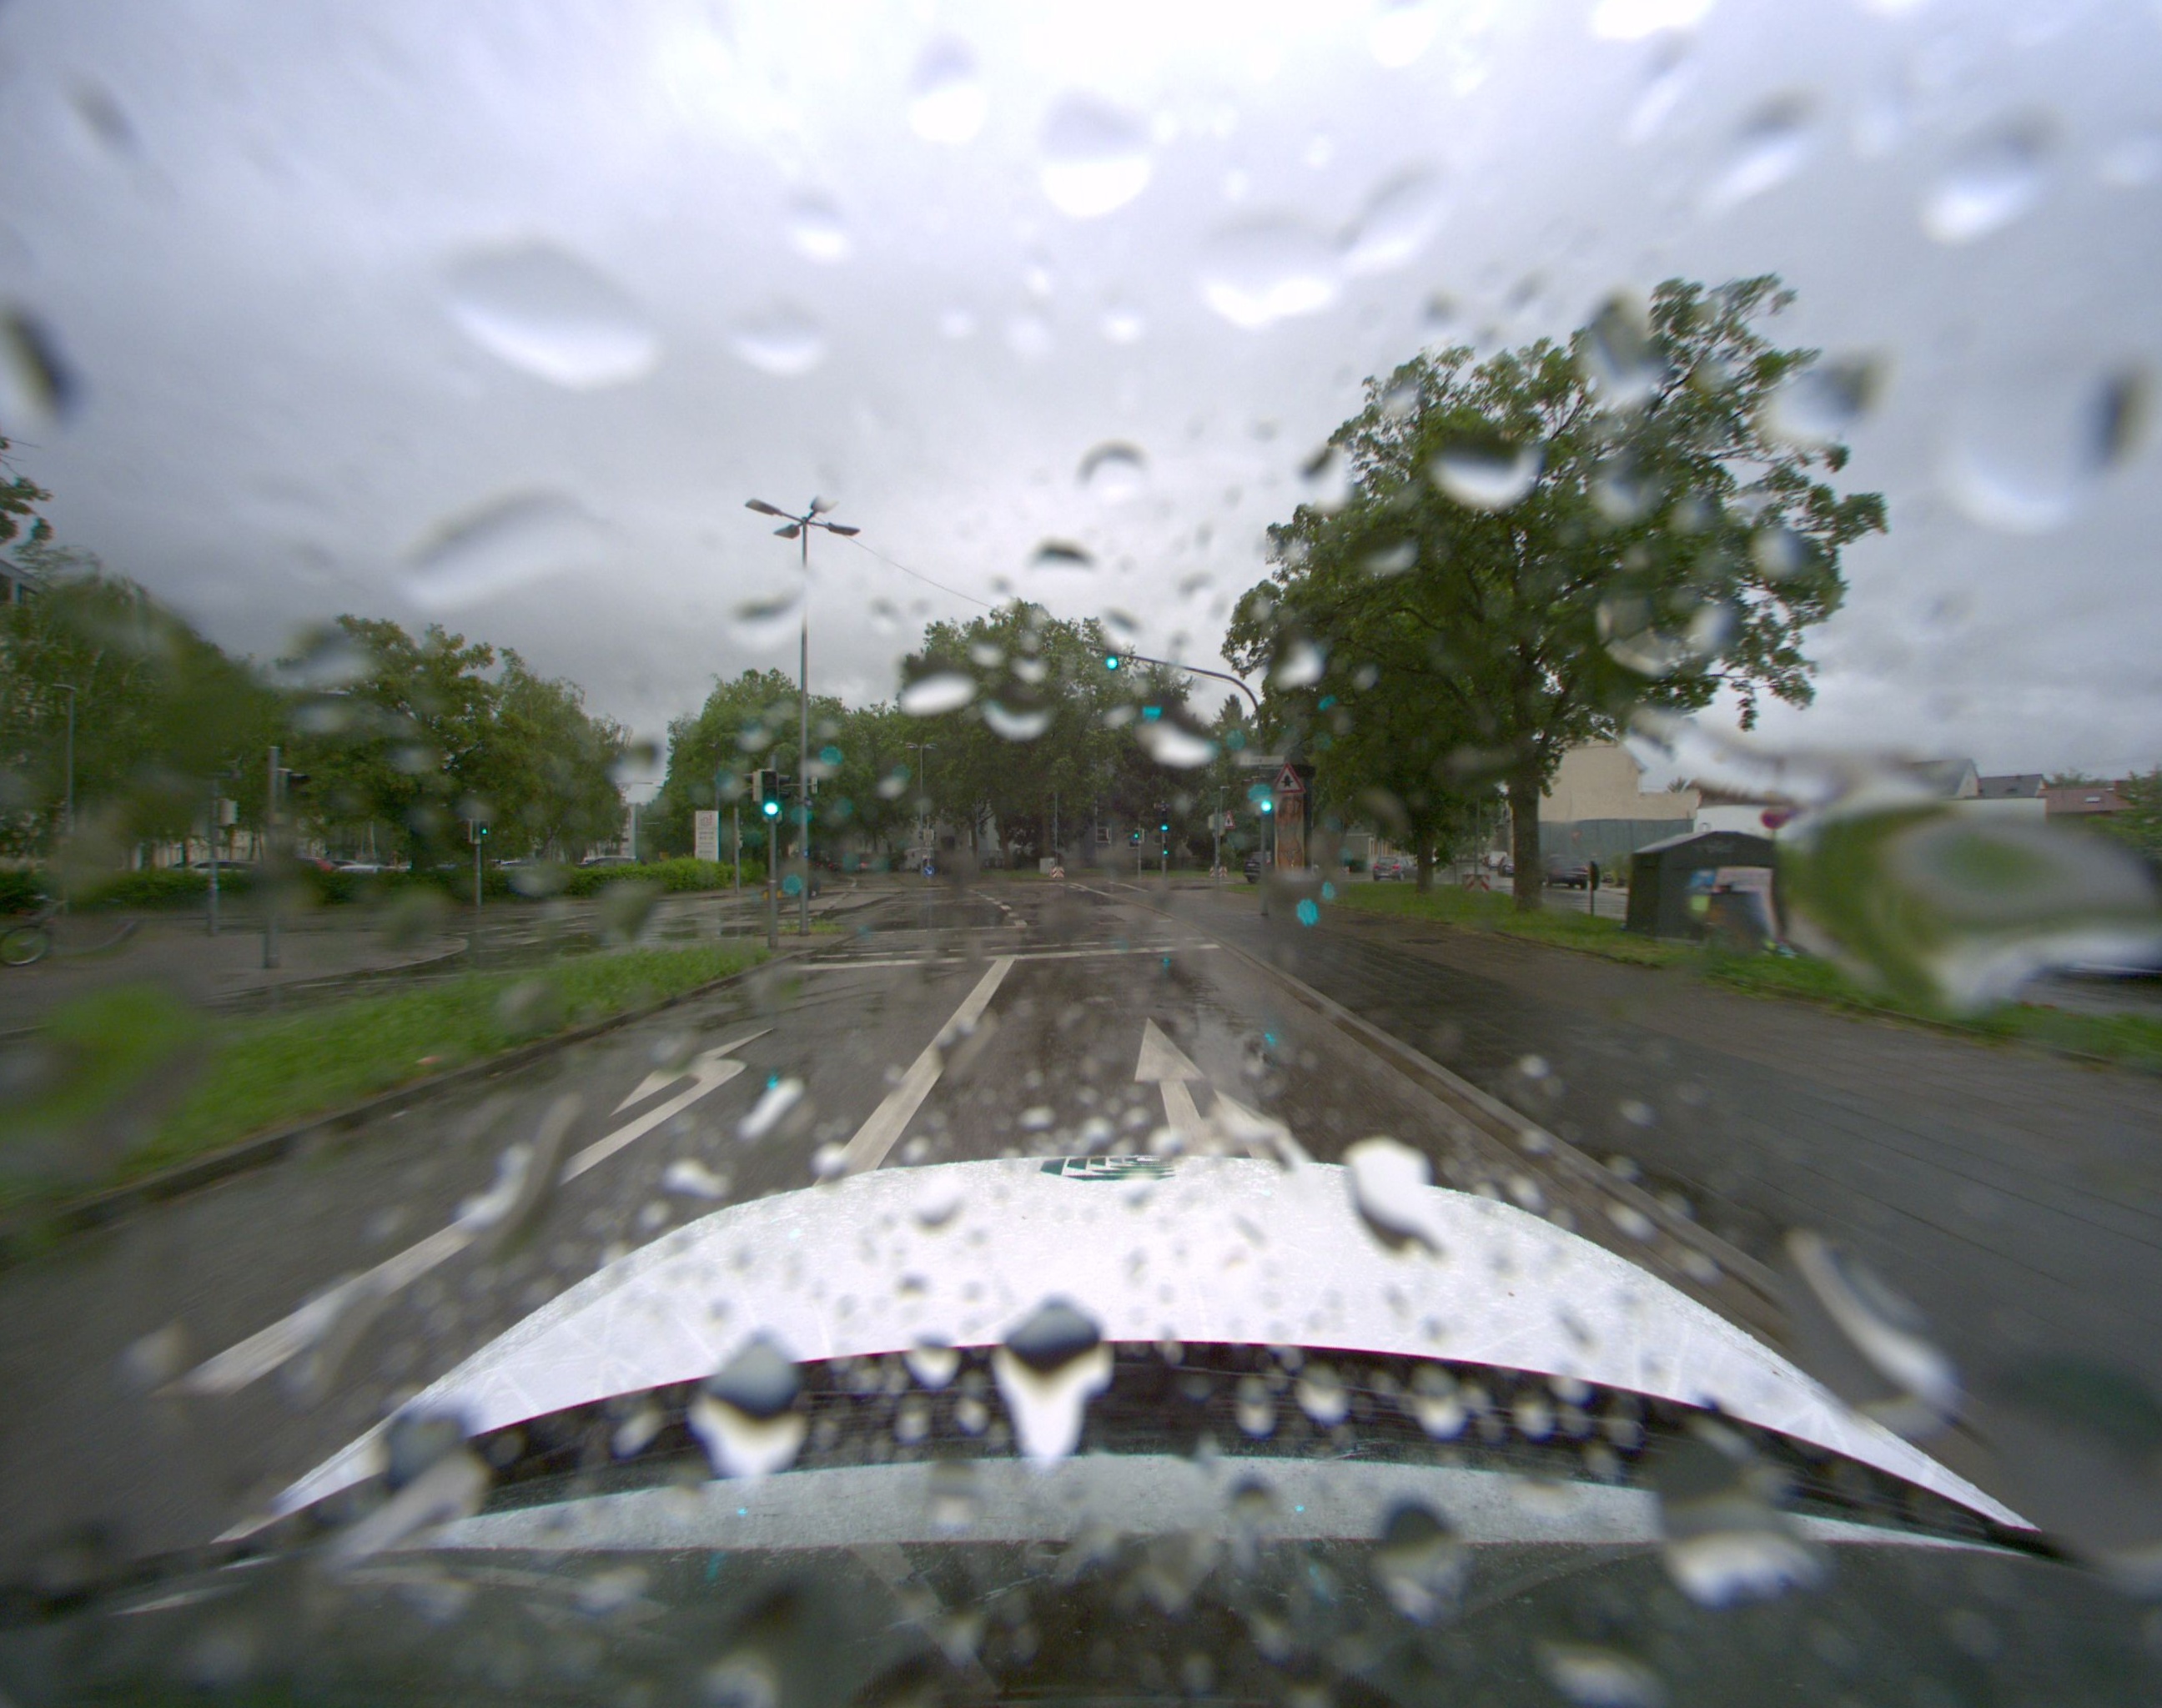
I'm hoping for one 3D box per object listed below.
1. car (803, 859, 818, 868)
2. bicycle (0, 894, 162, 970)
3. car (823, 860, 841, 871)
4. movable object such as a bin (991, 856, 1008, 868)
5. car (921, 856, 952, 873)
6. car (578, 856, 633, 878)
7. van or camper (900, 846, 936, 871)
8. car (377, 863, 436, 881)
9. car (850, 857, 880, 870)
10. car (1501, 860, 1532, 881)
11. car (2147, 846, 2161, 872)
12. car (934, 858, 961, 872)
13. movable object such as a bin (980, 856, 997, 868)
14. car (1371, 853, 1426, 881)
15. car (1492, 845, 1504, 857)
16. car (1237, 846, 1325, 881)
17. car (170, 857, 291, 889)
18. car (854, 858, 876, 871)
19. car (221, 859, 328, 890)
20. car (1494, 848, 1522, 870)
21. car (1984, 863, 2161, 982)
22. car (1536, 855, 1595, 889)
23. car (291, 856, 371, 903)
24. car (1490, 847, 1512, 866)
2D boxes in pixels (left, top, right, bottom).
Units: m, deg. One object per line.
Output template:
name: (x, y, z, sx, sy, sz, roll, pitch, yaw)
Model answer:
car: (-42.838, 1.503, 128.936, 1.716, 1.411, 3.610, -3, 1, -29)
bicycle: (-16.176, 1.228, 13.233, 0.554, 1.077, 1.792, 0, -1, -5)
car: (-35.140, 1.592, 114.832, 1.716, 1.411, 3.610, -3, 1, -29)
movable object such as a bin: (-9.979, 0.990, 99.402, 1.839, 1.432, 1.224, 0, -1, 43)
car: (-15.348, 1.142, 86.328, 1.928, 1.620, 4.410, 0, -2, -30)
car: (-40.425, 1.072, 69.256, 4.014, 1.833, 1.836, 0, -1, -33)
van or camper: (-18.769, 0.540, 93.640, 2.332, 2.807, 6.803, 0, -1, -27)
car: (-63.993, 1.729, 77.327, 4.013, 1.560, 1.980, -1, 0, -31)
car: (-30.877, 1.297, 116.541, 1.814, 1.697, 3.893, 0, 2, 33)
car: (33.520, 1.228, 62.674, 1.955, 1.549, 4.558, 0, -1, 30)
car: (53.486, 0.236, 38.371, 1.751, 1.266, 4.013, 0, 0, 12)
car: (-13.425, 1.107, 81.724, 1.557, 1.390, 4.113, 0, -1, -26)
movable object such as a bin: (-11.410, 0.984, 100.631, 1.839, 1.432, 1.224, 0, -1, 43)
car: (19.126, 0.746, 48.983, 1.974, 1.602, 4.114, 0, -1, 38)
car: (76.155, -0.537, 148.723, 1.975, 2.014, 4.023, 0, -1, 26)
car: (10.492, 0.479, 42.679, 4.316, 1.744, 1.981, 0, -1, -29)
car: (-44.810, 0.988, 43.055, 4.013, 1.519, 1.980, -1, 0, -31)
car: (-25.657, 1.263, 96.662, 1.716, 1.411, 3.610, -3, 1, -29)
car: (-47.098, 1.162, 47.694, 4.011, 1.686, 1.981, -1, 0, -29)
car: (35.983, 0.413, 68.734, 1.859, 1.810, 4.112, 0, -1, 25)
car: (14.126, 0.845, 10.236, 1.685, 1.433, 4.172, 0, 0, 14)
car: (24.744, 0.880, 41.730, 1.838, 1.654, 4.327, 0, -1, 20)
car: (-29.431, 0.957, 32.084, 1.790, 1.686, 3.981, -1, 0, -35)
car: (51.283, 0.294, 99.463, 2.328, 2.208, 4.640, 0, -1, 27)
